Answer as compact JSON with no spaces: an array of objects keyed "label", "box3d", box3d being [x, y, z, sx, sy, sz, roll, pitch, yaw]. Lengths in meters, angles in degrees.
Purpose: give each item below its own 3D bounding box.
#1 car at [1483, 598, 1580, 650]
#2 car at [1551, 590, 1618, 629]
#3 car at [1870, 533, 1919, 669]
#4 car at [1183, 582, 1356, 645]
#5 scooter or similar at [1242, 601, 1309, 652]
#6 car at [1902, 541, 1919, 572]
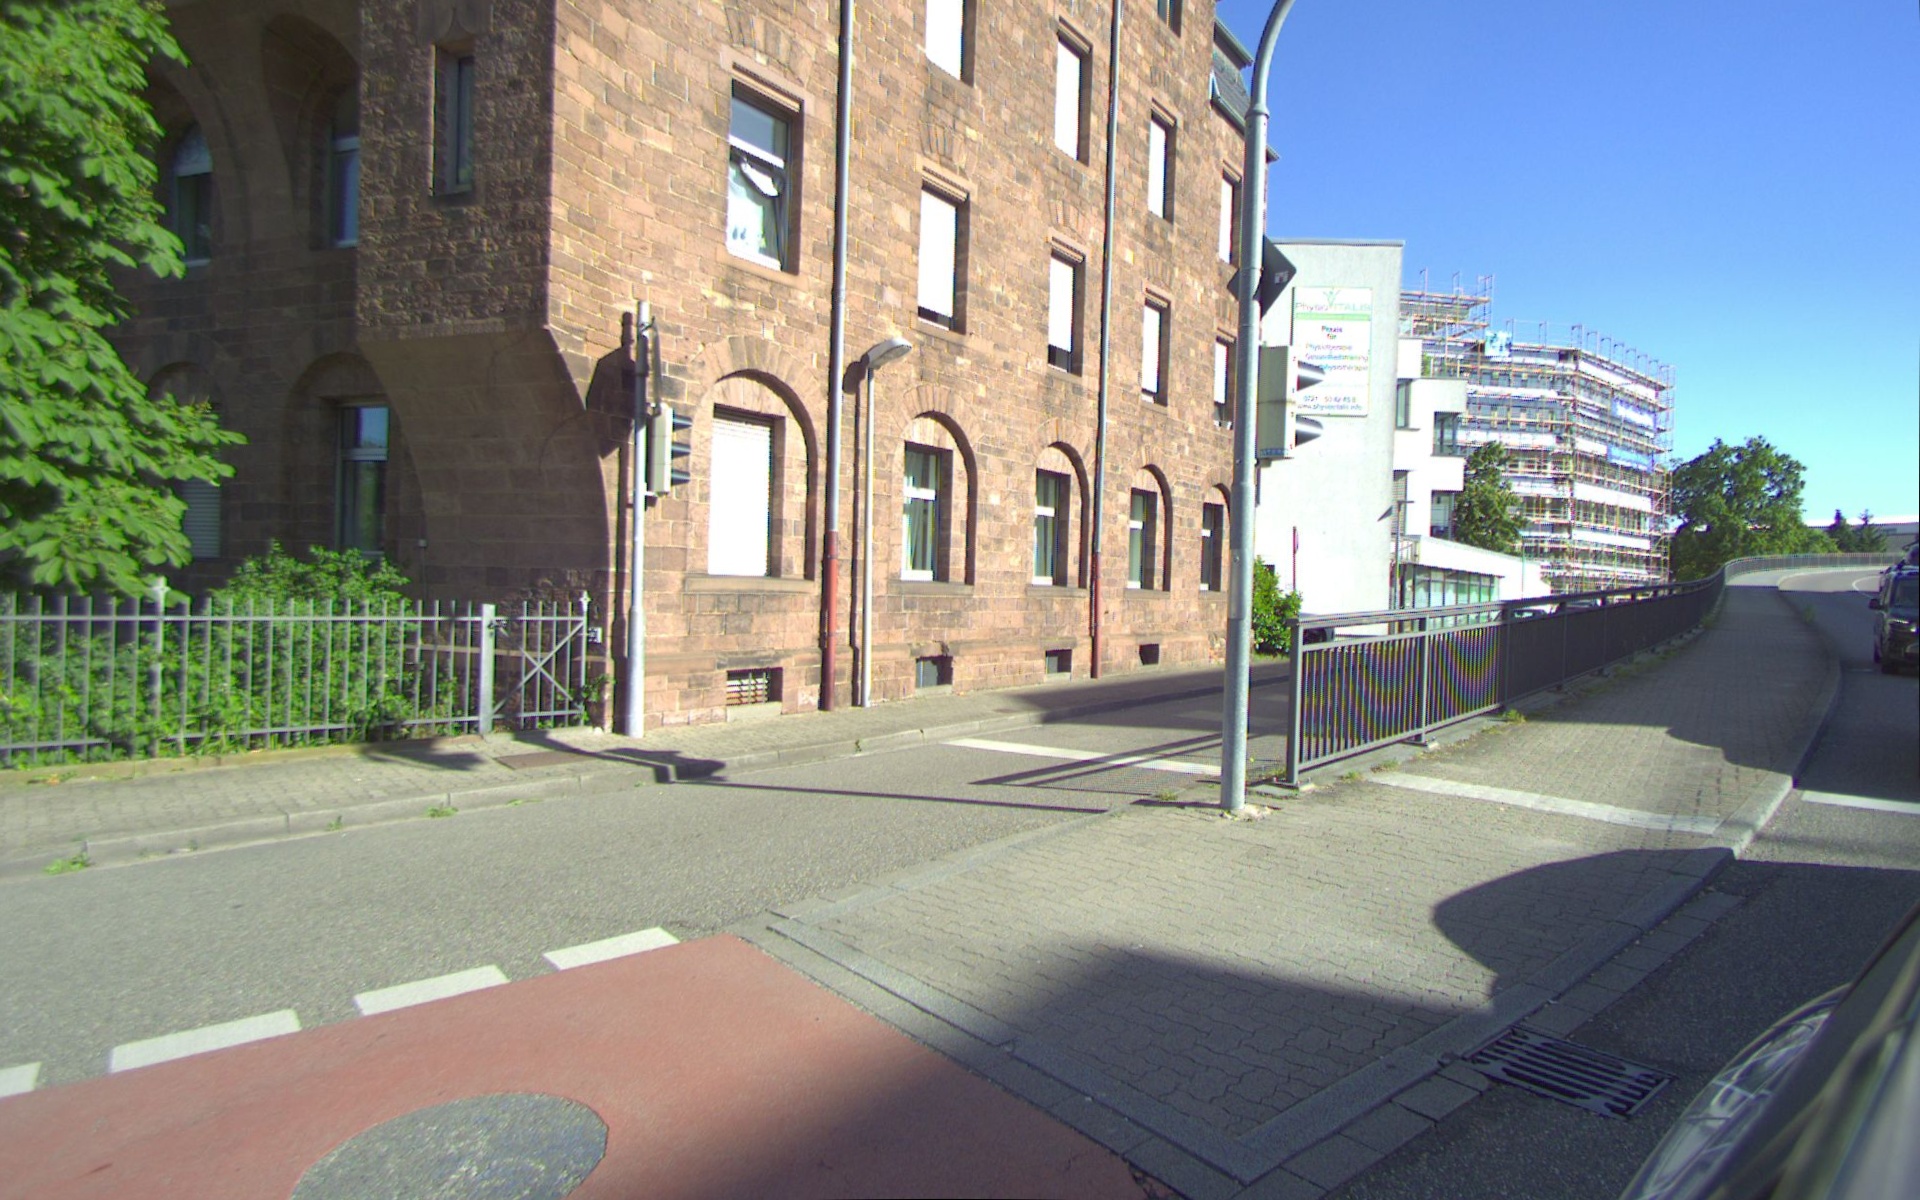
[{"label":"car","box3d":[19.116,0.752,33.756,1.844,1.448,4.611,1,3,42]},{"label":"car","box3d":[27.585,0.405,44.645,1.843,1.554,3.940,3,2,41]},{"label":"car","box3d":[17.714,-0.014,17.952,1.901,2.240,4.537,3,3,37]},{"label":"car","box3d":[9.093,0.375,30.053,4.562,1.789,1.828,0,2,2]},{"label":"scooter or similar","box3d":[7.902,0.660,25.370,1.453,1.234,0.775,-1,-1,35]},{"label":"car","box3d":[54.133,-2.444,56.684,1.832,1.674,4.561,0,1,41]}]
